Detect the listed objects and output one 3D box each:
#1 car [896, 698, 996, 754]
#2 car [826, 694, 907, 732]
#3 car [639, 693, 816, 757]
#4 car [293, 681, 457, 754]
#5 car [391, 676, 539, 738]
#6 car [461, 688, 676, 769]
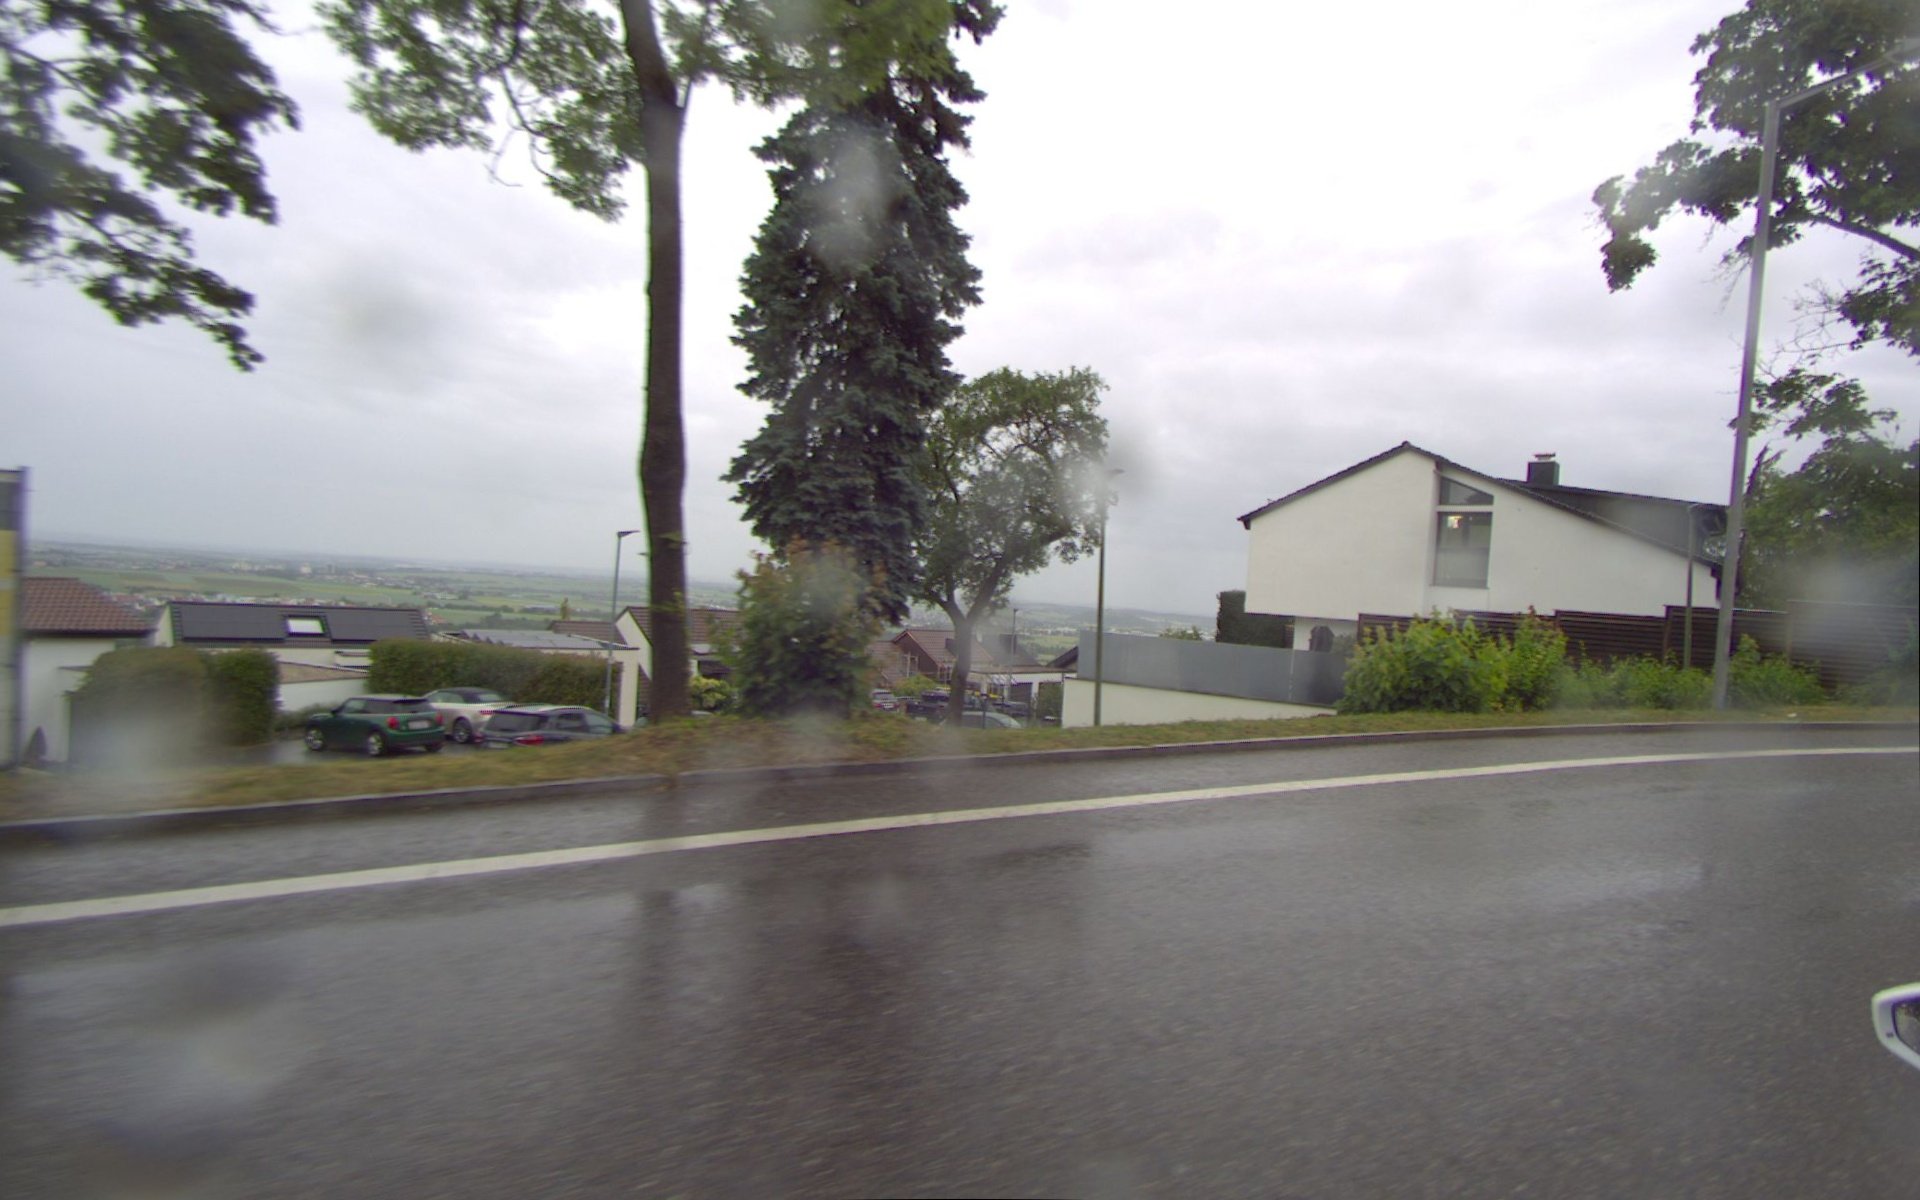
[{"bbox_3d":[-0.521,5.062,40.735,1.968,2.039,3.987,0,-5,37],"label":"car"},{"bbox_3d":[-4.472,5.340,47.694,1.790,1.659,3.954,0,-5,-41],"label":"car"},{"bbox_3d":[-5.752,3.135,25.384,2.123,1.368,4.279,1,-6,25],"label":"car"},{"bbox_3d":[-15.028,2.946,25.787,3.927,1.435,1.882,0,1,28],"label":"car"},{"bbox_3d":[-14.172,3.008,28.728,3.927,1.375,1.882,0,1,28],"label":"car"},{"bbox_3d":[-8.073,2.623,21.129,1.849,1.434,3.999,1,-5,25],"label":"car"}]
